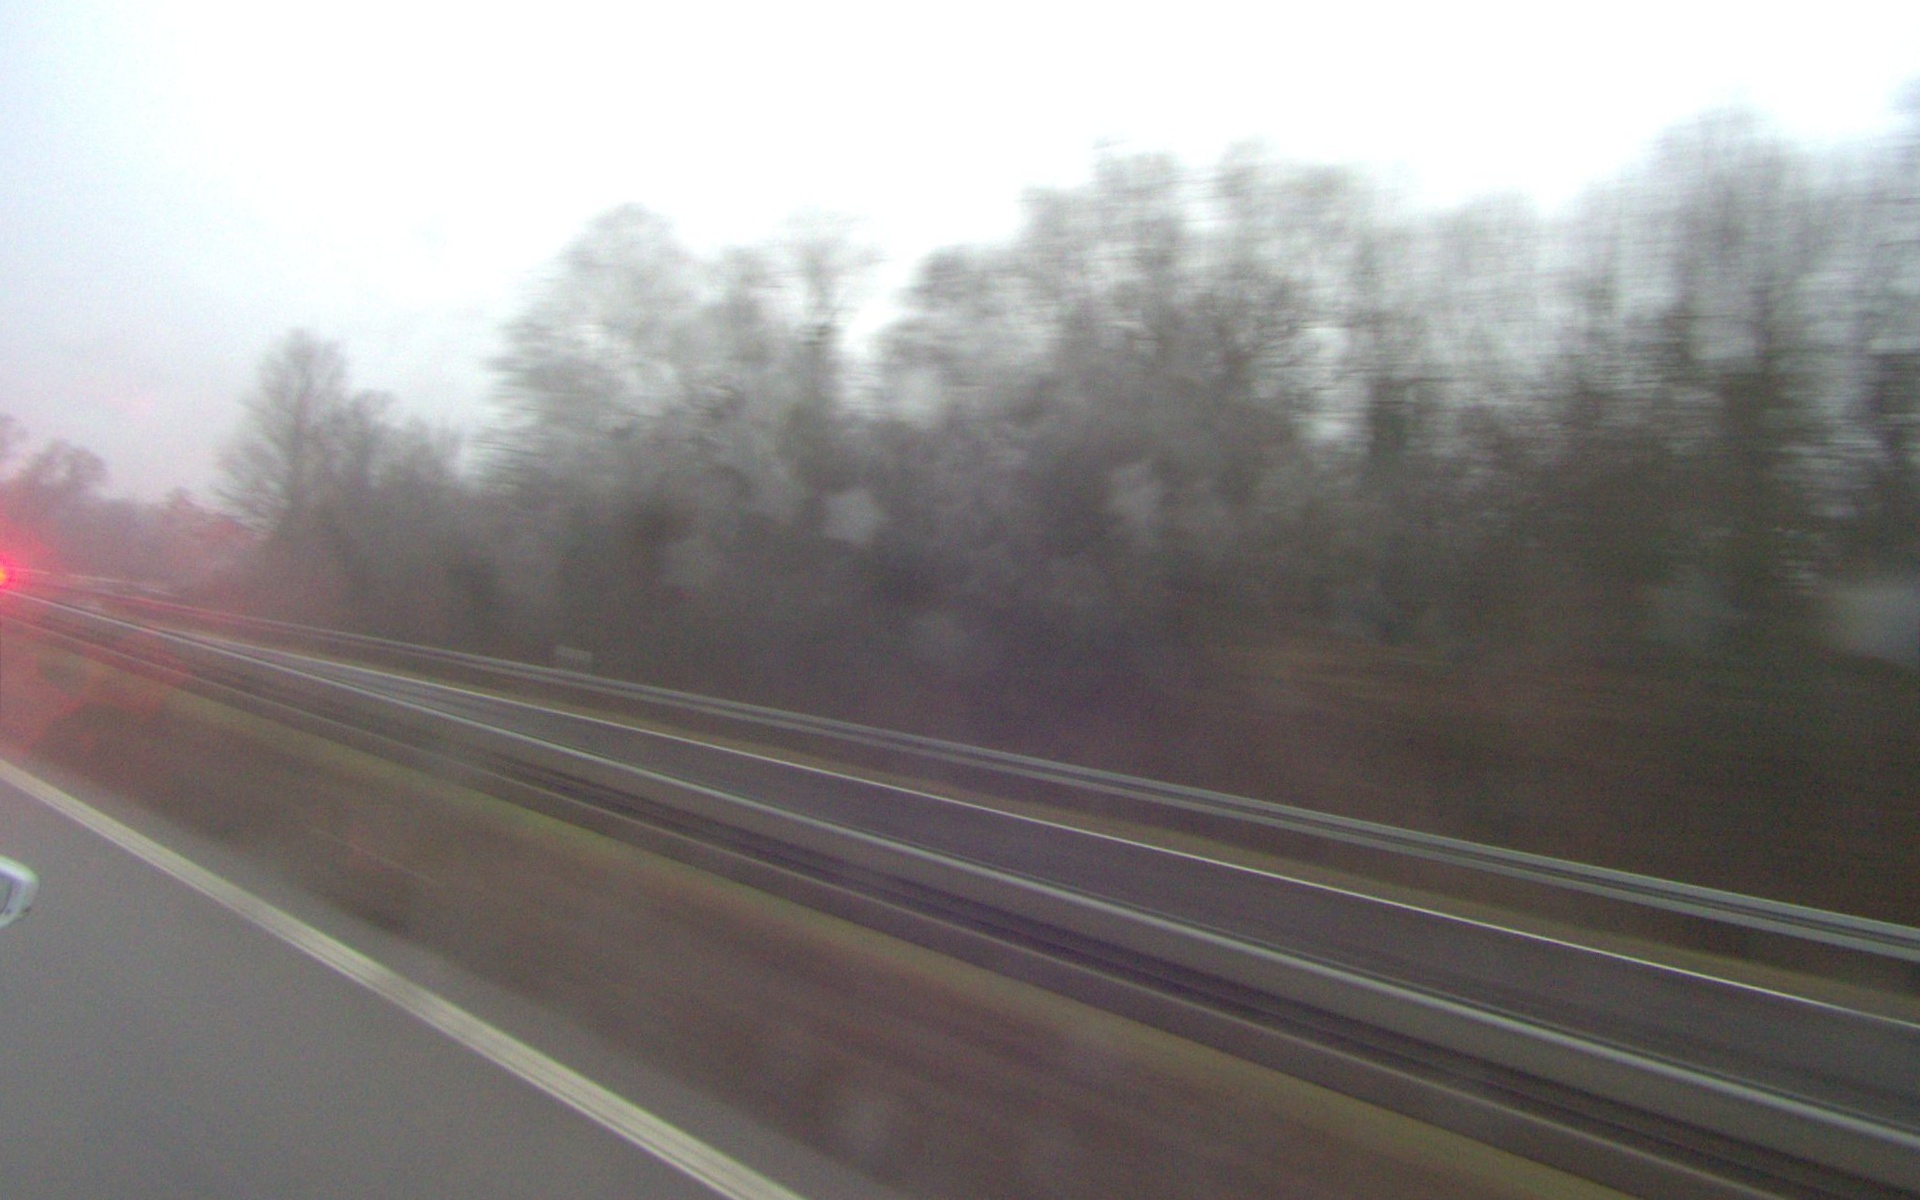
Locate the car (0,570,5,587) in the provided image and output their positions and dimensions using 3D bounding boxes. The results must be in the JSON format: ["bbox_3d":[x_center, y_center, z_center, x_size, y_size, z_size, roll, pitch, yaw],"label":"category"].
[{"bbox_3d":[-37.111,-0.800,36.827,3.930,1.292,1.686,6,-8,27],"label":"car"}]
